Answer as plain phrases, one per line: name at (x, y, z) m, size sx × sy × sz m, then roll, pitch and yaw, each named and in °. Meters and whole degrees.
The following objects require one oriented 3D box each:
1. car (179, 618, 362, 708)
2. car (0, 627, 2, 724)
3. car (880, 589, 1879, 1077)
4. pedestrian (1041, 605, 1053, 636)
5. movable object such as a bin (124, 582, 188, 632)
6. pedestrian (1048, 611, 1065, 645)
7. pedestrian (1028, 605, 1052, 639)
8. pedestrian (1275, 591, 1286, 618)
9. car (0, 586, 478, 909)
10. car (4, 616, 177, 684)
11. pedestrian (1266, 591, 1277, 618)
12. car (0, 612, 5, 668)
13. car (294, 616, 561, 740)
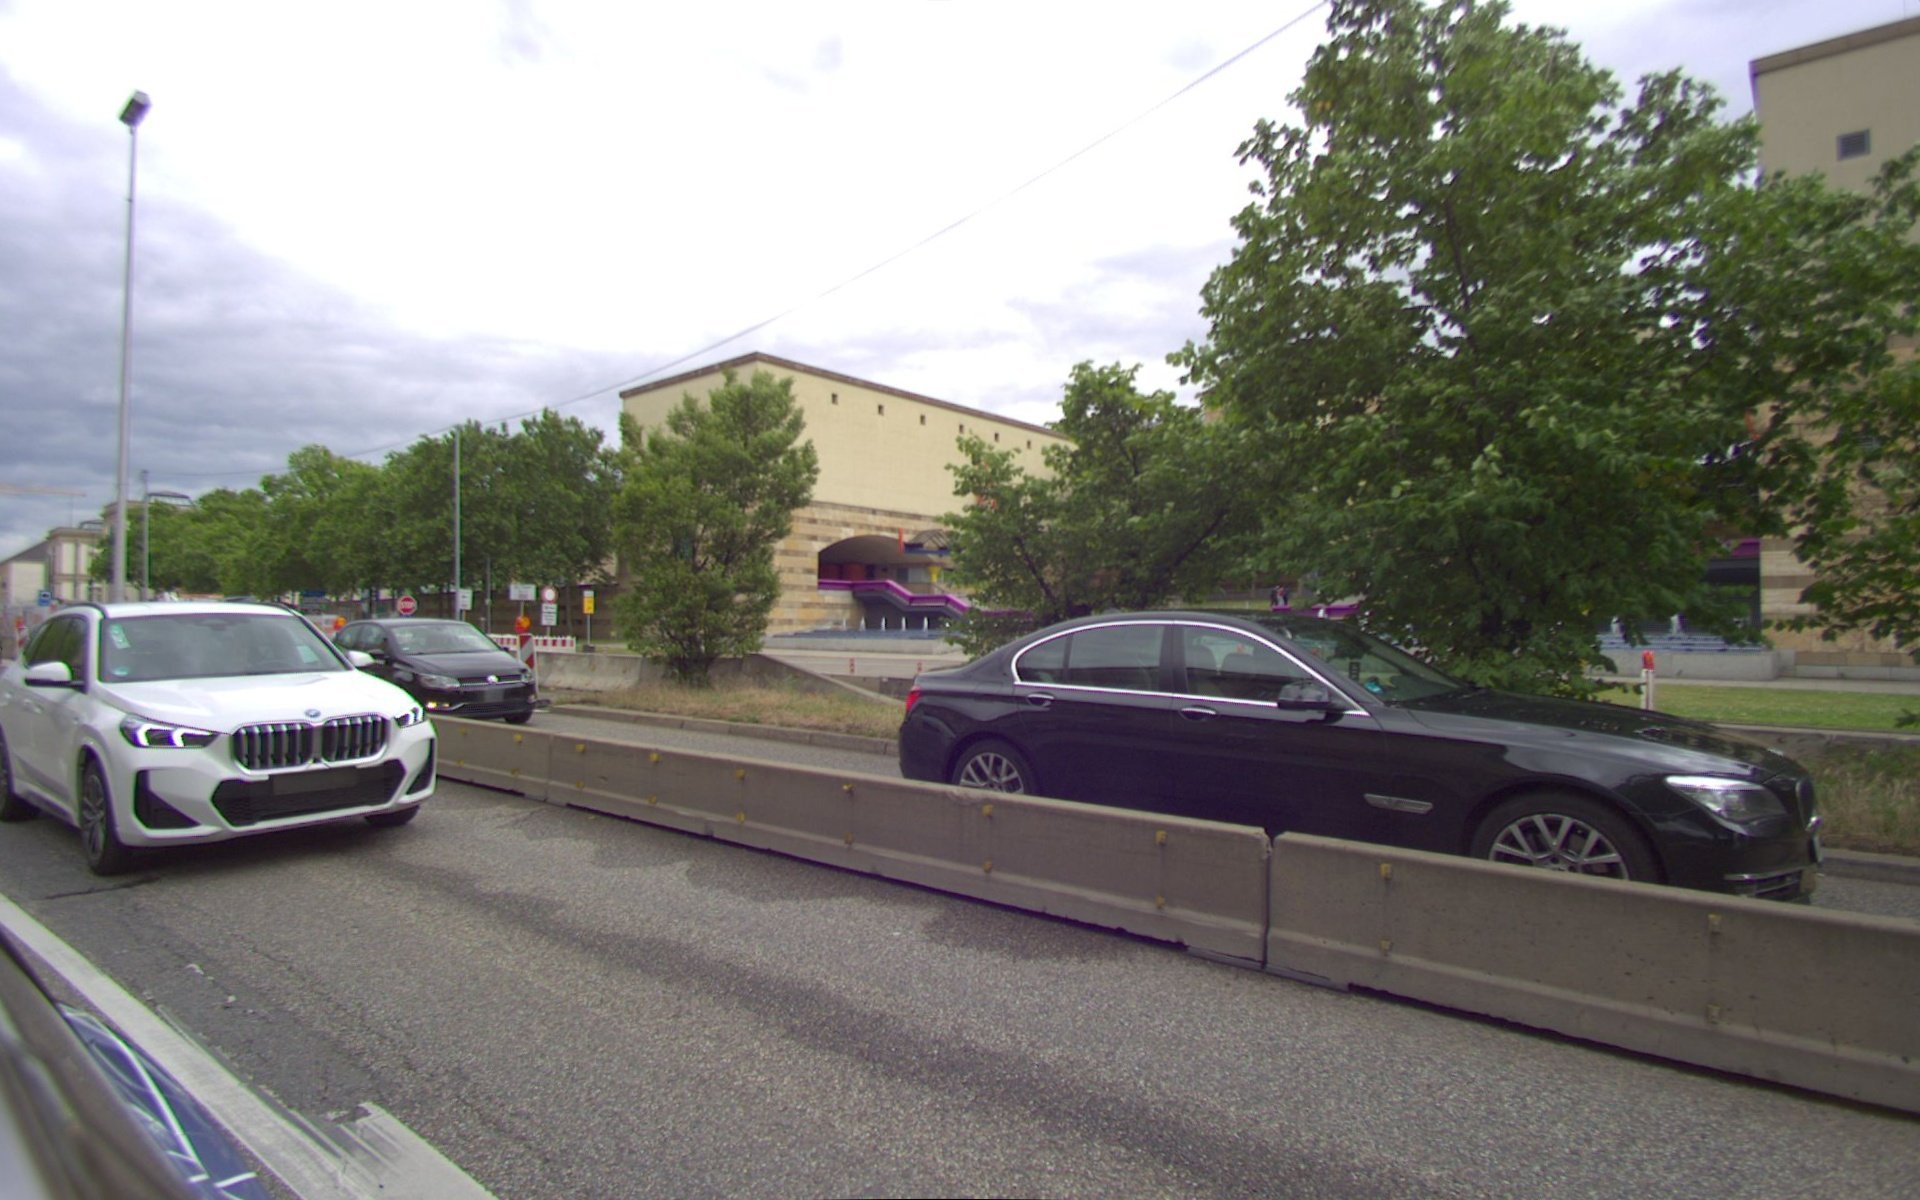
car at (-12.958, 1.103, 18.954) m, size 3.846 × 1.518 × 1.657 m, roll -1°, pitch -1°, yaw 36°
car at (-16.398, 1.137, 15.556) m, size 4.013 × 1.448 × 1.781 m, roll -1°, pitch -1°, yaw 37°
car at (1.916, 0.820, 5.809) m, size 4.936 × 1.648 × 1.903 m, roll -1°, pitch -1°, yaw 42°
pedestrian at (4.708, 1.117, 54.870) m, size 0.526 × 1.708 × 0.338 m, roll -1°, pitch -1°, yaw 41°
movable object such as a bin at (-37.074, 0.362, 46.668) m, size 3.287 × 2.202 × 1.508 m, roll -1°, pitch -2°, yaw 37°
pedestrian at (4.876, 1.408, 51.184) m, size 0.695 × 1.708 × 0.521 m, roll -1°, pitch -1°, yaw 30°
pedestrian at (4.880, 1.325, 61.824) m, size 0.907 × 2.029 × 1.094 m, roll -1°, pitch 0°, yaw -45°
pedestrian at (21.182, 0.283, 66.795) m, size 0.477 × 1.762 × 0.638 m, roll -1°, pitch -1°, yaw 39°
car at (-5.664, 0.772, 7.353) m, size 4.897 × 1.640 × 1.834 m, roll -1°, pitch -1°, yaw 37°
car at (-20.969, 1.145, 24.363) m, size 4.688 × 1.492 × 1.864 m, roll -1°, pitch -1°, yaw 32°
pedestrian at (20.768, 0.281, 67.375) m, size 0.477 × 1.762 × 0.638 m, roll -1°, pitch -1°, yaw 39°
car at (-30.121, 1.187, 30.126) m, size 4.039 × 1.633 × 1.760 m, roll -1°, pitch -1°, yaw 36°
car at (-7.398, 0.957, 13.911) m, size 4.191 × 1.465 × 1.644 m, roll -1°, pitch -1°, yaw 37°
